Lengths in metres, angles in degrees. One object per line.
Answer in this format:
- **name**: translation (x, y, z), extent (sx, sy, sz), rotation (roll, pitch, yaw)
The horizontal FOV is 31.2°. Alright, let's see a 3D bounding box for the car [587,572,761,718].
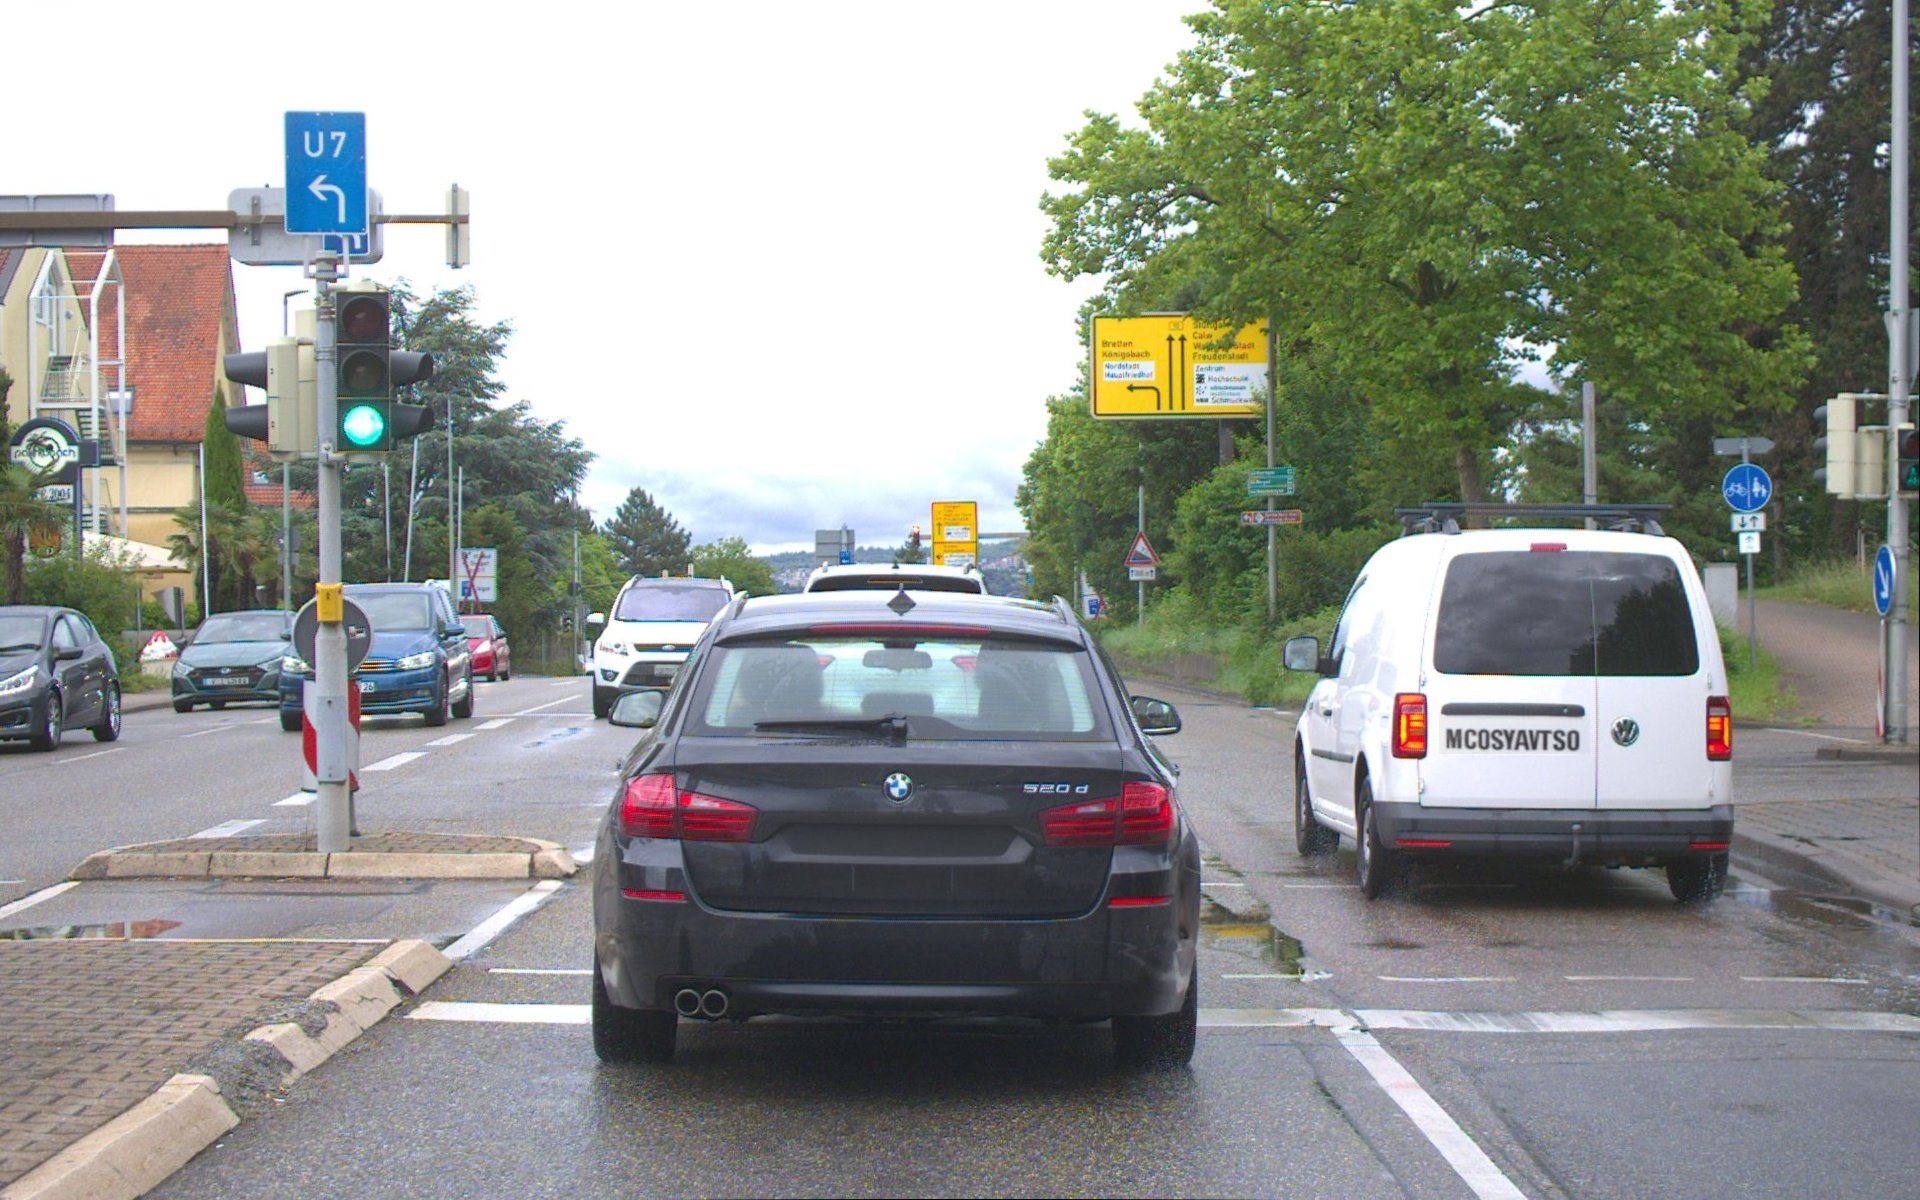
- **car**: translation (-3.393, 0.498, 41.482), extent (1.839, 1.644, 4.297), rotation (0, 1, -1)

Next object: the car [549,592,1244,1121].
- **car**: translation (-0.186, 0.703, 11.479), extent (1.899, 1.437, 4.000), rotation (1, 0, 0)

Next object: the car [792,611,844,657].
- **car**: translation (-5.512, 1.313, 133.884), extent (1.868, 1.668, 4.000), rotation (1, 1, 0)

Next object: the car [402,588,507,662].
- **car**: translation (-11.096, 0.527, 75.708), extent (1.770, 1.563, 4.000), rotation (0, 0, -1)

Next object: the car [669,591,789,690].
- **car**: translation (-3.444, 0.618, 51.869), extent (1.632, 1.429, 4.144), rotation (0, -1, -1)

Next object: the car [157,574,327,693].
- **car**: translation (-10.498, 0.460, 50.492), extent (1.676, 1.612, 4.000), rotation (-1, 1, -1)

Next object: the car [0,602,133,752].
- **car**: translation (-9.804, 0.754, 34.731), extent (1.917, 1.375, 4.125), rotation (-2, 1, -1)

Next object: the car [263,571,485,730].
- **car**: translation (-6.586, 0.521, 39.040), extent (1.839, 1.644, 4.297), rotation (-2, 1, -1)

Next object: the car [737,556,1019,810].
- **car**: translation (-0.561, 0.528, 24.983), extent (1.868, 1.668, 4.000), rotation (1, 1, 0)

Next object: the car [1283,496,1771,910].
- **car**: translation (2.766, 0.440, 17.595), extent (1.764, 1.871, 3.805), rotation (1, 1, -1)
